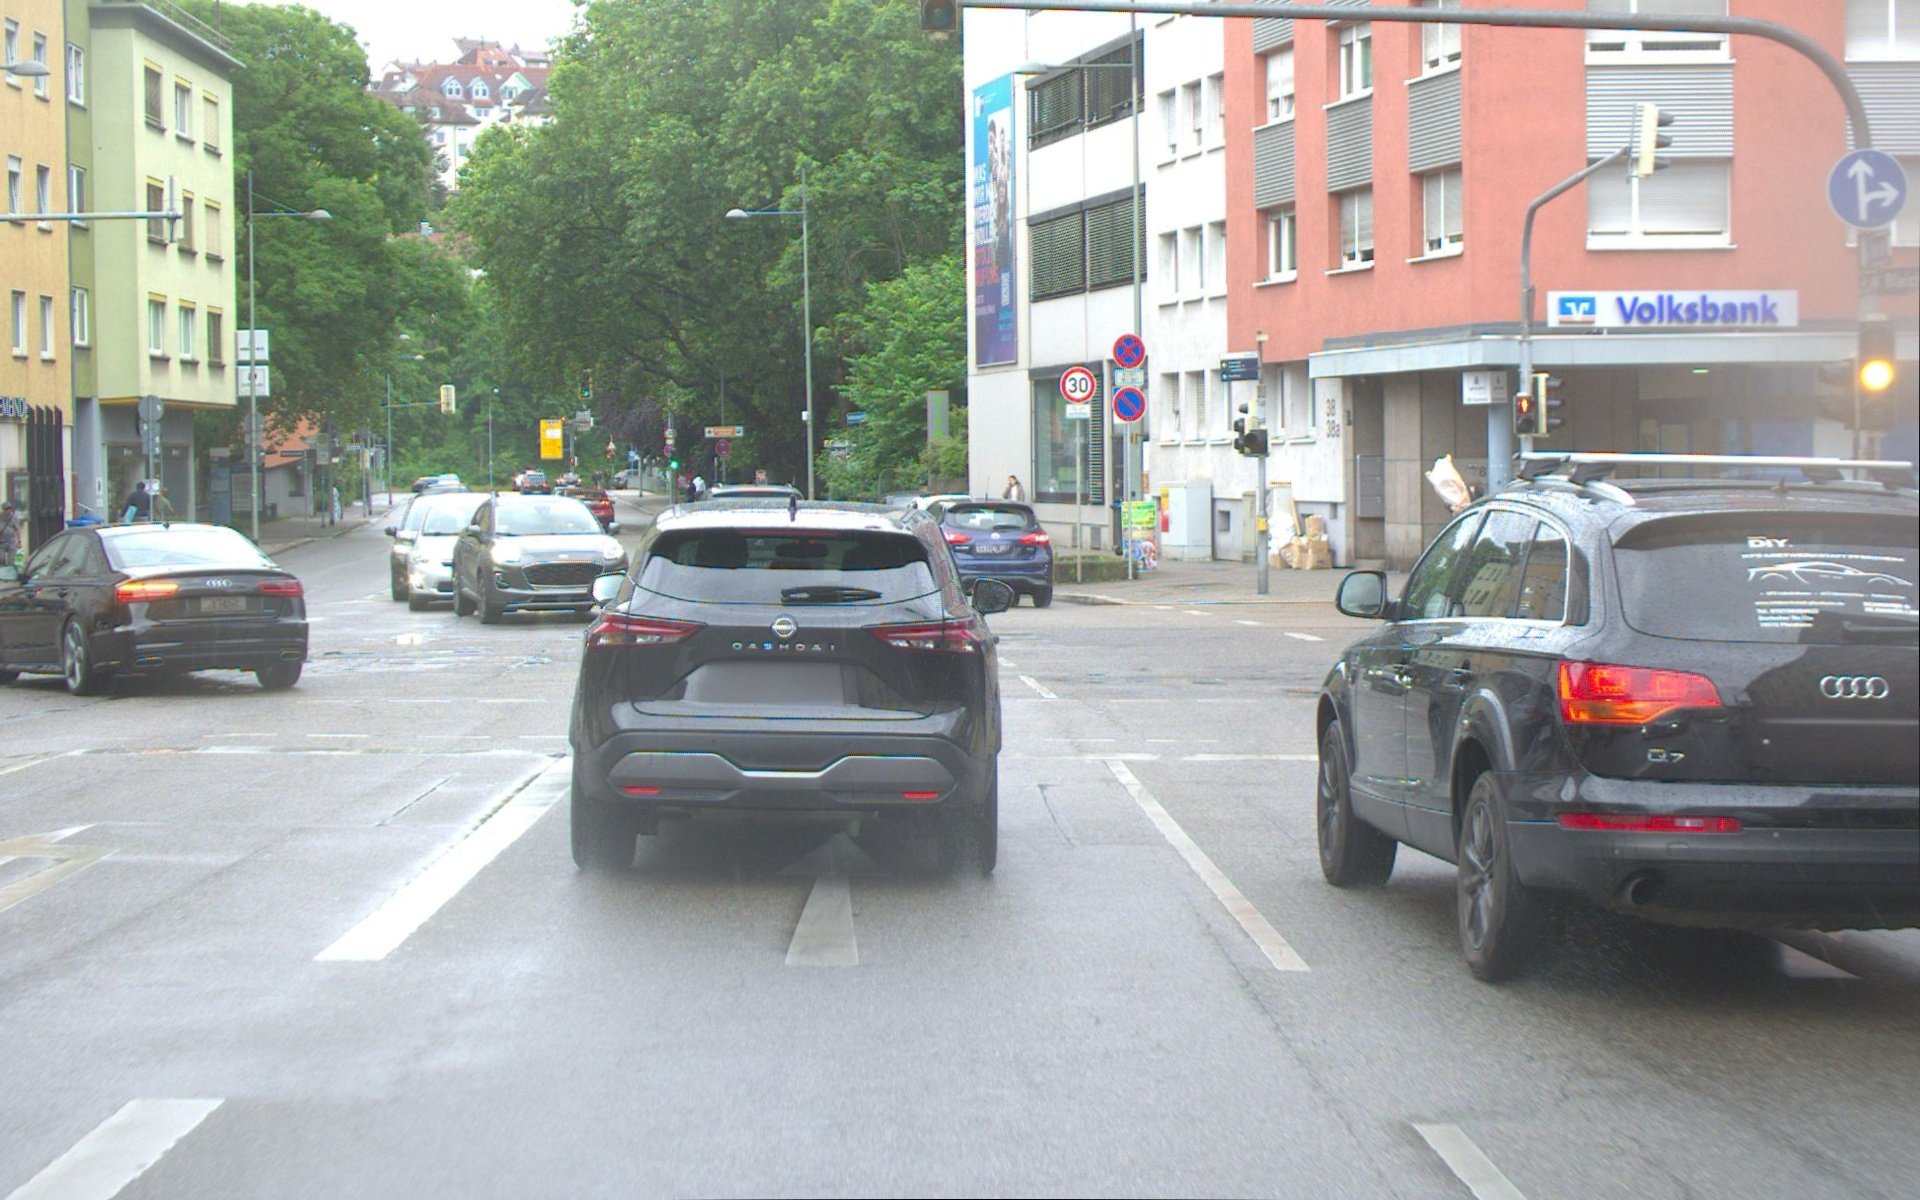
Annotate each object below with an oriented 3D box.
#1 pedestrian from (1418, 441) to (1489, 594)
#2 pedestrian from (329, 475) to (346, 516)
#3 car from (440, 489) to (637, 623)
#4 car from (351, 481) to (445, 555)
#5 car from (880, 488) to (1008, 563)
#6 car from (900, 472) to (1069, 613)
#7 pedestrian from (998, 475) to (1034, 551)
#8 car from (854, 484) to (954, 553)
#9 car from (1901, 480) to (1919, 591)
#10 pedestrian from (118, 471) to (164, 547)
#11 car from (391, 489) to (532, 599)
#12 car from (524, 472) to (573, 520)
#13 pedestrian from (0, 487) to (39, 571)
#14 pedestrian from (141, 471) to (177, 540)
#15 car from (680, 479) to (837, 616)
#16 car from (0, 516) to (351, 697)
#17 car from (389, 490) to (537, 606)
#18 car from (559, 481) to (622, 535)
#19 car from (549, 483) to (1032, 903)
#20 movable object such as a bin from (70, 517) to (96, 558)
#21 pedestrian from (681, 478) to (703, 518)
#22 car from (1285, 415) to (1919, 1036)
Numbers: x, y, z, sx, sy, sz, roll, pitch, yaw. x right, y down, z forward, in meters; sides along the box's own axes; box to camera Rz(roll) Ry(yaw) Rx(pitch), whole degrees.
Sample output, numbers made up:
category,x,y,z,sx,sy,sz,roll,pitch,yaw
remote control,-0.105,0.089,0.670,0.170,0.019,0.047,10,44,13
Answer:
category,x,y,z,sx,sy,sz,roll,pitch,yaw
pedestrian,7.047,-1.187,49.096,0.825,2.151,0.770,1,2,-2
pedestrian,-27.289,-4.587,150.679,0.666,1.785,0.722,1,2,-15
car,-5.288,-0.583,42.743,1.855,1.547,4.228,-1,2,-15
car,-14.852,-2.195,90.998,1.993,1.853,4.001,1,2,-3
car,-0.366,-1.559,70.811,1.774,1.396,4.581,-3,3,-11
car,0.301,-0.826,48.262,1.945,1.810,4.001,-3,2,-5
pedestrian,1.295,-2.013,79.513,0.612,1.731,0.681,-3,2,-15
car,-1.282,-1.853,77.244,1.714,1.437,4.083,-3,2,-7
car,14.793,-0.897,45.924,3.945,1.481,1.703,-1,2,-2
pedestrian,-19.730,-2.199,82.830,0.865,1.782,0.875,2,2,-2
car,-7.725,-0.883,53.598,1.820,1.603,4.431,-1,1,-4
car,-15.808,-4.017,132.202,1.820,1.790,3.867,1,2,-6
pedestrian,-18.046,-1.366,65.676,0.687,1.576,0.652,2,2,-1
pedestrian,-19.834,-2.351,85.136,0.798,1.682,0.817,-1,2,-9
car,-2.764,-0.731,46.439,1.945,1.679,4.001,-3,2,-5
car,-6.976,0.009,29.611,1.993,1.383,4.500,-2,2,-29
car,-6.983,-0.736,48.384,1.933,1.521,4.136,-1,1,-8
car,-11.659,-2.917,108.419,1.820,1.606,3.867,1,2,-8
car,-0.836,0.313,15.795,1.894,1.623,4.001,2,2,-5
movable object such as a bin,-19.926,-1.427,78.086,0.454,0.926,0.502,-1,2,-1
pedestrian,-12.139,-4.629,155.764,0.721,1.785,0.667,3,3,40
car,2.632,0.339,12.939,2.021,1.863,4.900,2,1,-3
